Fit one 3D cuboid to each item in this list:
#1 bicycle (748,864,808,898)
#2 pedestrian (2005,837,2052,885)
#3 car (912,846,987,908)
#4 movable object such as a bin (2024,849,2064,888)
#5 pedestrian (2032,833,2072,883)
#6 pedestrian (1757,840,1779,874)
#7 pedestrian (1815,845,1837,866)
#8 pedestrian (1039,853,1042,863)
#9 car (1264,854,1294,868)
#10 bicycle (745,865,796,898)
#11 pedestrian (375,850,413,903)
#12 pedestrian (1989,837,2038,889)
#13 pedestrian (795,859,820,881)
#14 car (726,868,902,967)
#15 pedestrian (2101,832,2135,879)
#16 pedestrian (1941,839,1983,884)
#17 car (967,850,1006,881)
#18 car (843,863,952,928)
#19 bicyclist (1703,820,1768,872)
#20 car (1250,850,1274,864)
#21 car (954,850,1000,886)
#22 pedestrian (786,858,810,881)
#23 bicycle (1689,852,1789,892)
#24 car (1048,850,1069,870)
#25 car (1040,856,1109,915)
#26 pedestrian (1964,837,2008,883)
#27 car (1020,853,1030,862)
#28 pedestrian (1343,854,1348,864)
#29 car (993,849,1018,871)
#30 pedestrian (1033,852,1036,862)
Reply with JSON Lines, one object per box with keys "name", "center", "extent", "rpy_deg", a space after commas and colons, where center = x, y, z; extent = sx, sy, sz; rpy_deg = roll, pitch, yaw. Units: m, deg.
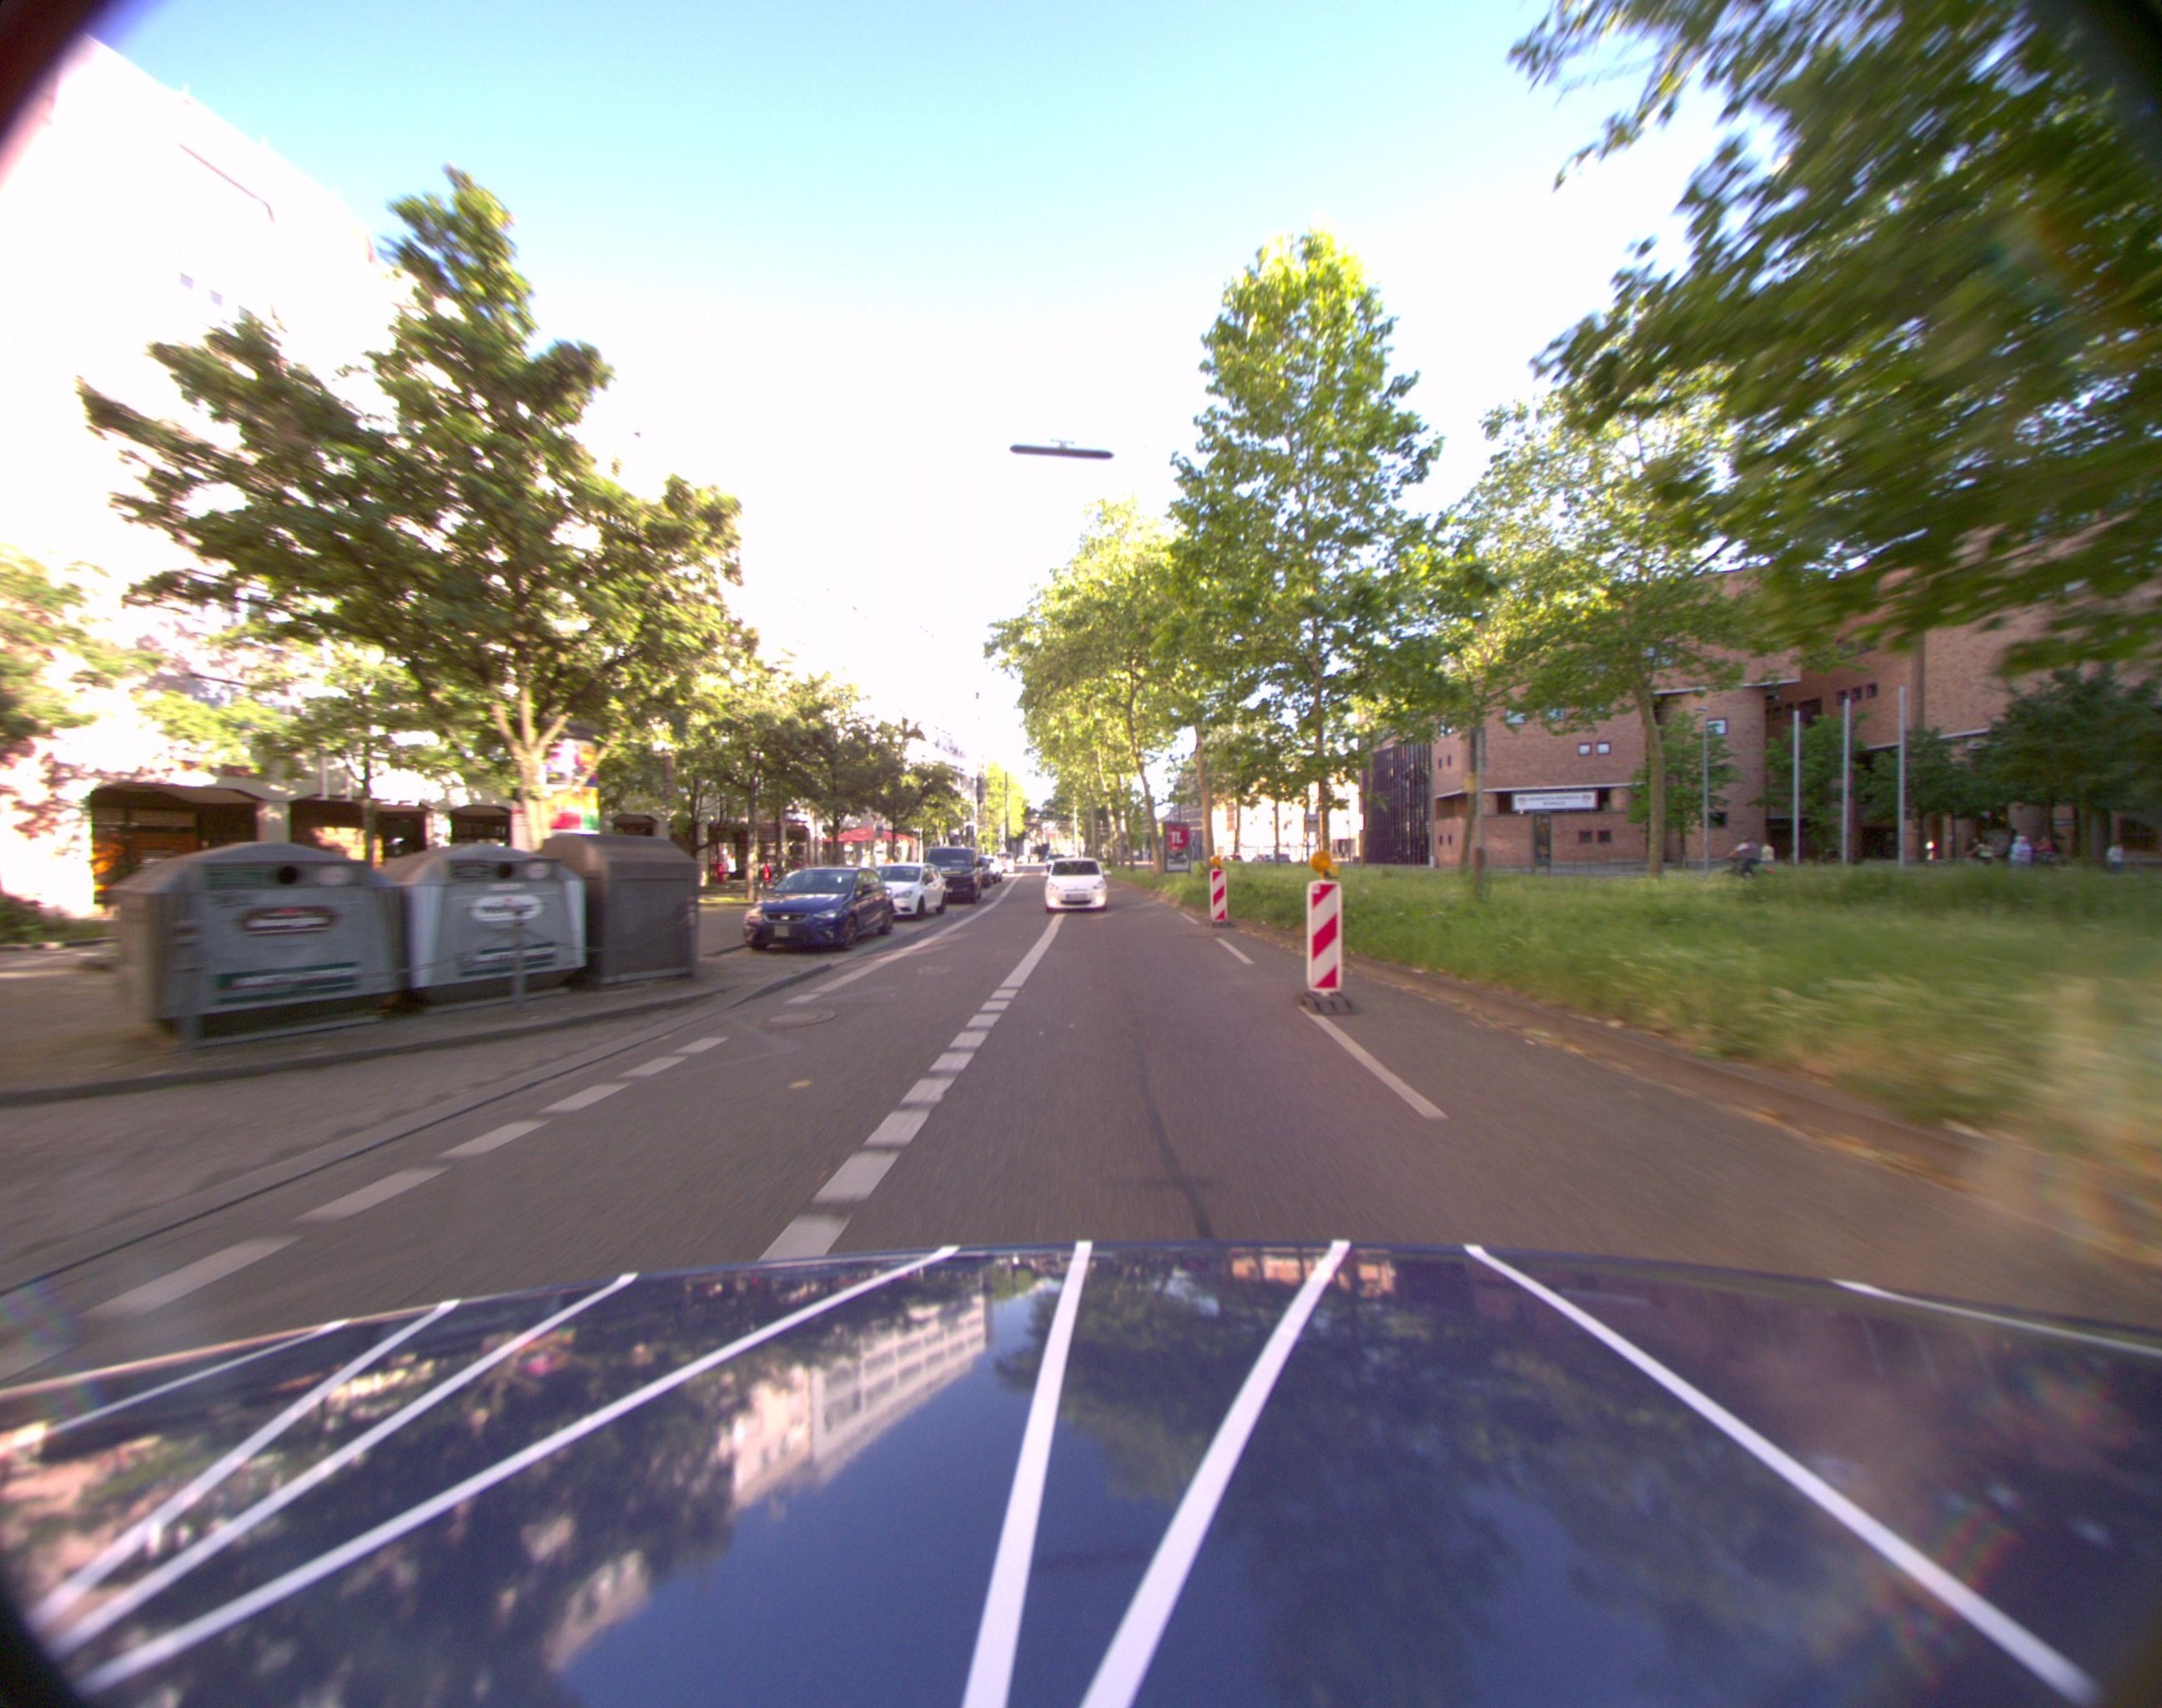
{"name": "bicycle", "center": [-11.178, 0.986, 28.156], "extent": [0.654, 1.180, 2.188], "rpy_deg": [-1, 0, 25]}
{"name": "pedestrian", "center": [32.236, 0.241, 25.857], "extent": [0.666, 1.607, 0.756], "rpy_deg": [-1, 1, -3]}
{"name": "car", "center": [-4.487, 0.734, 26.661], "extent": [2.043, 1.932, 5.196], "rpy_deg": [1, 0, -4]}
{"name": "movable object such as a bin", "center": [31.503, 0.472, 24.859], "extent": [0.356, 1.271, 0.756], "rpy_deg": [-1, 1, -3]}
{"name": "pedestrian", "center": [32.890, 0.135, 25.739], "extent": [0.612, 1.670, 0.596], "rpy_deg": [-1, 1, -3]}
{"name": "pedestrian", "center": [31.472, 0.154, 34.811], "extent": [0.417, 1.535, 0.653], "rpy_deg": [-1, 1, 4]}
{"name": "pedestrian", "center": [42.690, 0.099, 43.562], "extent": [0.666, 1.191, 0.630], "rpy_deg": [-1, 1, -12]}
{"name": "pedestrian", "center": [-8.295, 0.831, 154.673], "extent": [0.654, 2.002, 0.741], "rpy_deg": [-1, 1, -4]}
{"name": "car", "center": [19.938, 0.689, 76.631], "extent": [1.675, 1.421, 4.148], "rpy_deg": [-1, 0, -3]}
{"name": "bicycle", "center": [-11.688, 1.028, 28.645], "extent": [0.484, 1.148, 1.915], "rpy_deg": [-1, 0, 25]}
{"name": "pedestrian", "center": [-24.598, 0.781, 27.219], "extent": [0.622, 1.859, 0.708], "rpy_deg": [-1, 1, 0]}
{"name": "pedestrian", "center": [31.459, 0.292, 25.635], "extent": [0.666, 1.712, 0.796], "rpy_deg": [-1, 1, -3]}
{"name": "pedestrian", "center": [-15.414, 0.910, 42.860], "extent": [0.887, 1.205, 1.124], "rpy_deg": [-1, 1, 8]}
{"name": "car", "center": [-4.695, 1.036, 14.066], "extent": [1.706, 1.475, 4.248], "rpy_deg": [0, 0, 1]}
{"name": "pedestrian", "center": [33.718, 0.050, 24.712], "extent": [0.484, 1.497, 0.463], "rpy_deg": [-1, 1, -2]}
{"name": "pedestrian", "center": [31.651, 0.260, 27.304], "extent": [0.666, 1.607, 0.756], "rpy_deg": [-1, 1, -3]}
{"name": "car", "center": [-5.503, 0.623, 44.734], "extent": [1.802, 1.714, 4.459], "rpy_deg": [1, 0, -1]}
{"name": "car", "center": [-4.654, 0.995, 19.882], "extent": [1.706, 1.457, 4.175], "rpy_deg": [0, 0, 2]}
{"name": "bicyclist", "center": [20.393, -0.250, 23.699], "extent": [0.944, 1.562, 1.209], "rpy_deg": [-1, 0, -2]}
{"name": "car", "center": [19.643, 0.346, 82.616], "extent": [1.617, 1.421, 3.220], "rpy_deg": [-1, 0, -3]}
{"name": "car", "center": [-5.288, 0.687, 39.148], "extent": [1.802, 1.714, 4.574], "rpy_deg": [1, 0, -1]}
{"name": "pedestrian", "center": [-15.466, 0.854, 41.519], "extent": [0.931, 1.243, 0.968], "rpy_deg": [-1, 0, 1]}
{"name": "bicycle", "center": [20.418, 0.531, 23.678], "extent": [0.959, 1.119, 2.435], "rpy_deg": [-1, 1, -2]}
{"name": "car", "center": [-1.996, 0.503, 67.922], "extent": [1.824, 1.630, 3.999], "rpy_deg": [-1, 1, -2]}
{"name": "car", "center": [-0.098, 0.822, 22.065], "extent": [1.720, 1.442, 4.425], "rpy_deg": [-3, 0, 2]}
{"name": "pedestrian", "center": [32.506, 0.203, 27.292], "extent": [0.665, 1.607, 0.756], "rpy_deg": [-1, 1, -1]}
{"name": "car", "center": [-11.280, 0.630, 153.272], "extent": [1.866, 1.724, 4.017], "rpy_deg": [-1, 0, -3]}
{"name": "pedestrian", "center": [40.444, 0.808, 116.175], "extent": [0.566, 1.495, 0.512], "rpy_deg": [-1, -1, 20]}
{"name": "car", "center": [-6.732, 0.543, 68.509], "extent": [1.922, 1.893, 4.860], "rpy_deg": [1, 0, -2]}
{"name": "pedestrian", "center": [-9.205, 0.537, 150.903], "extent": [0.614, 2.002, 0.529], "rpy_deg": [-1, 1, -4]}
